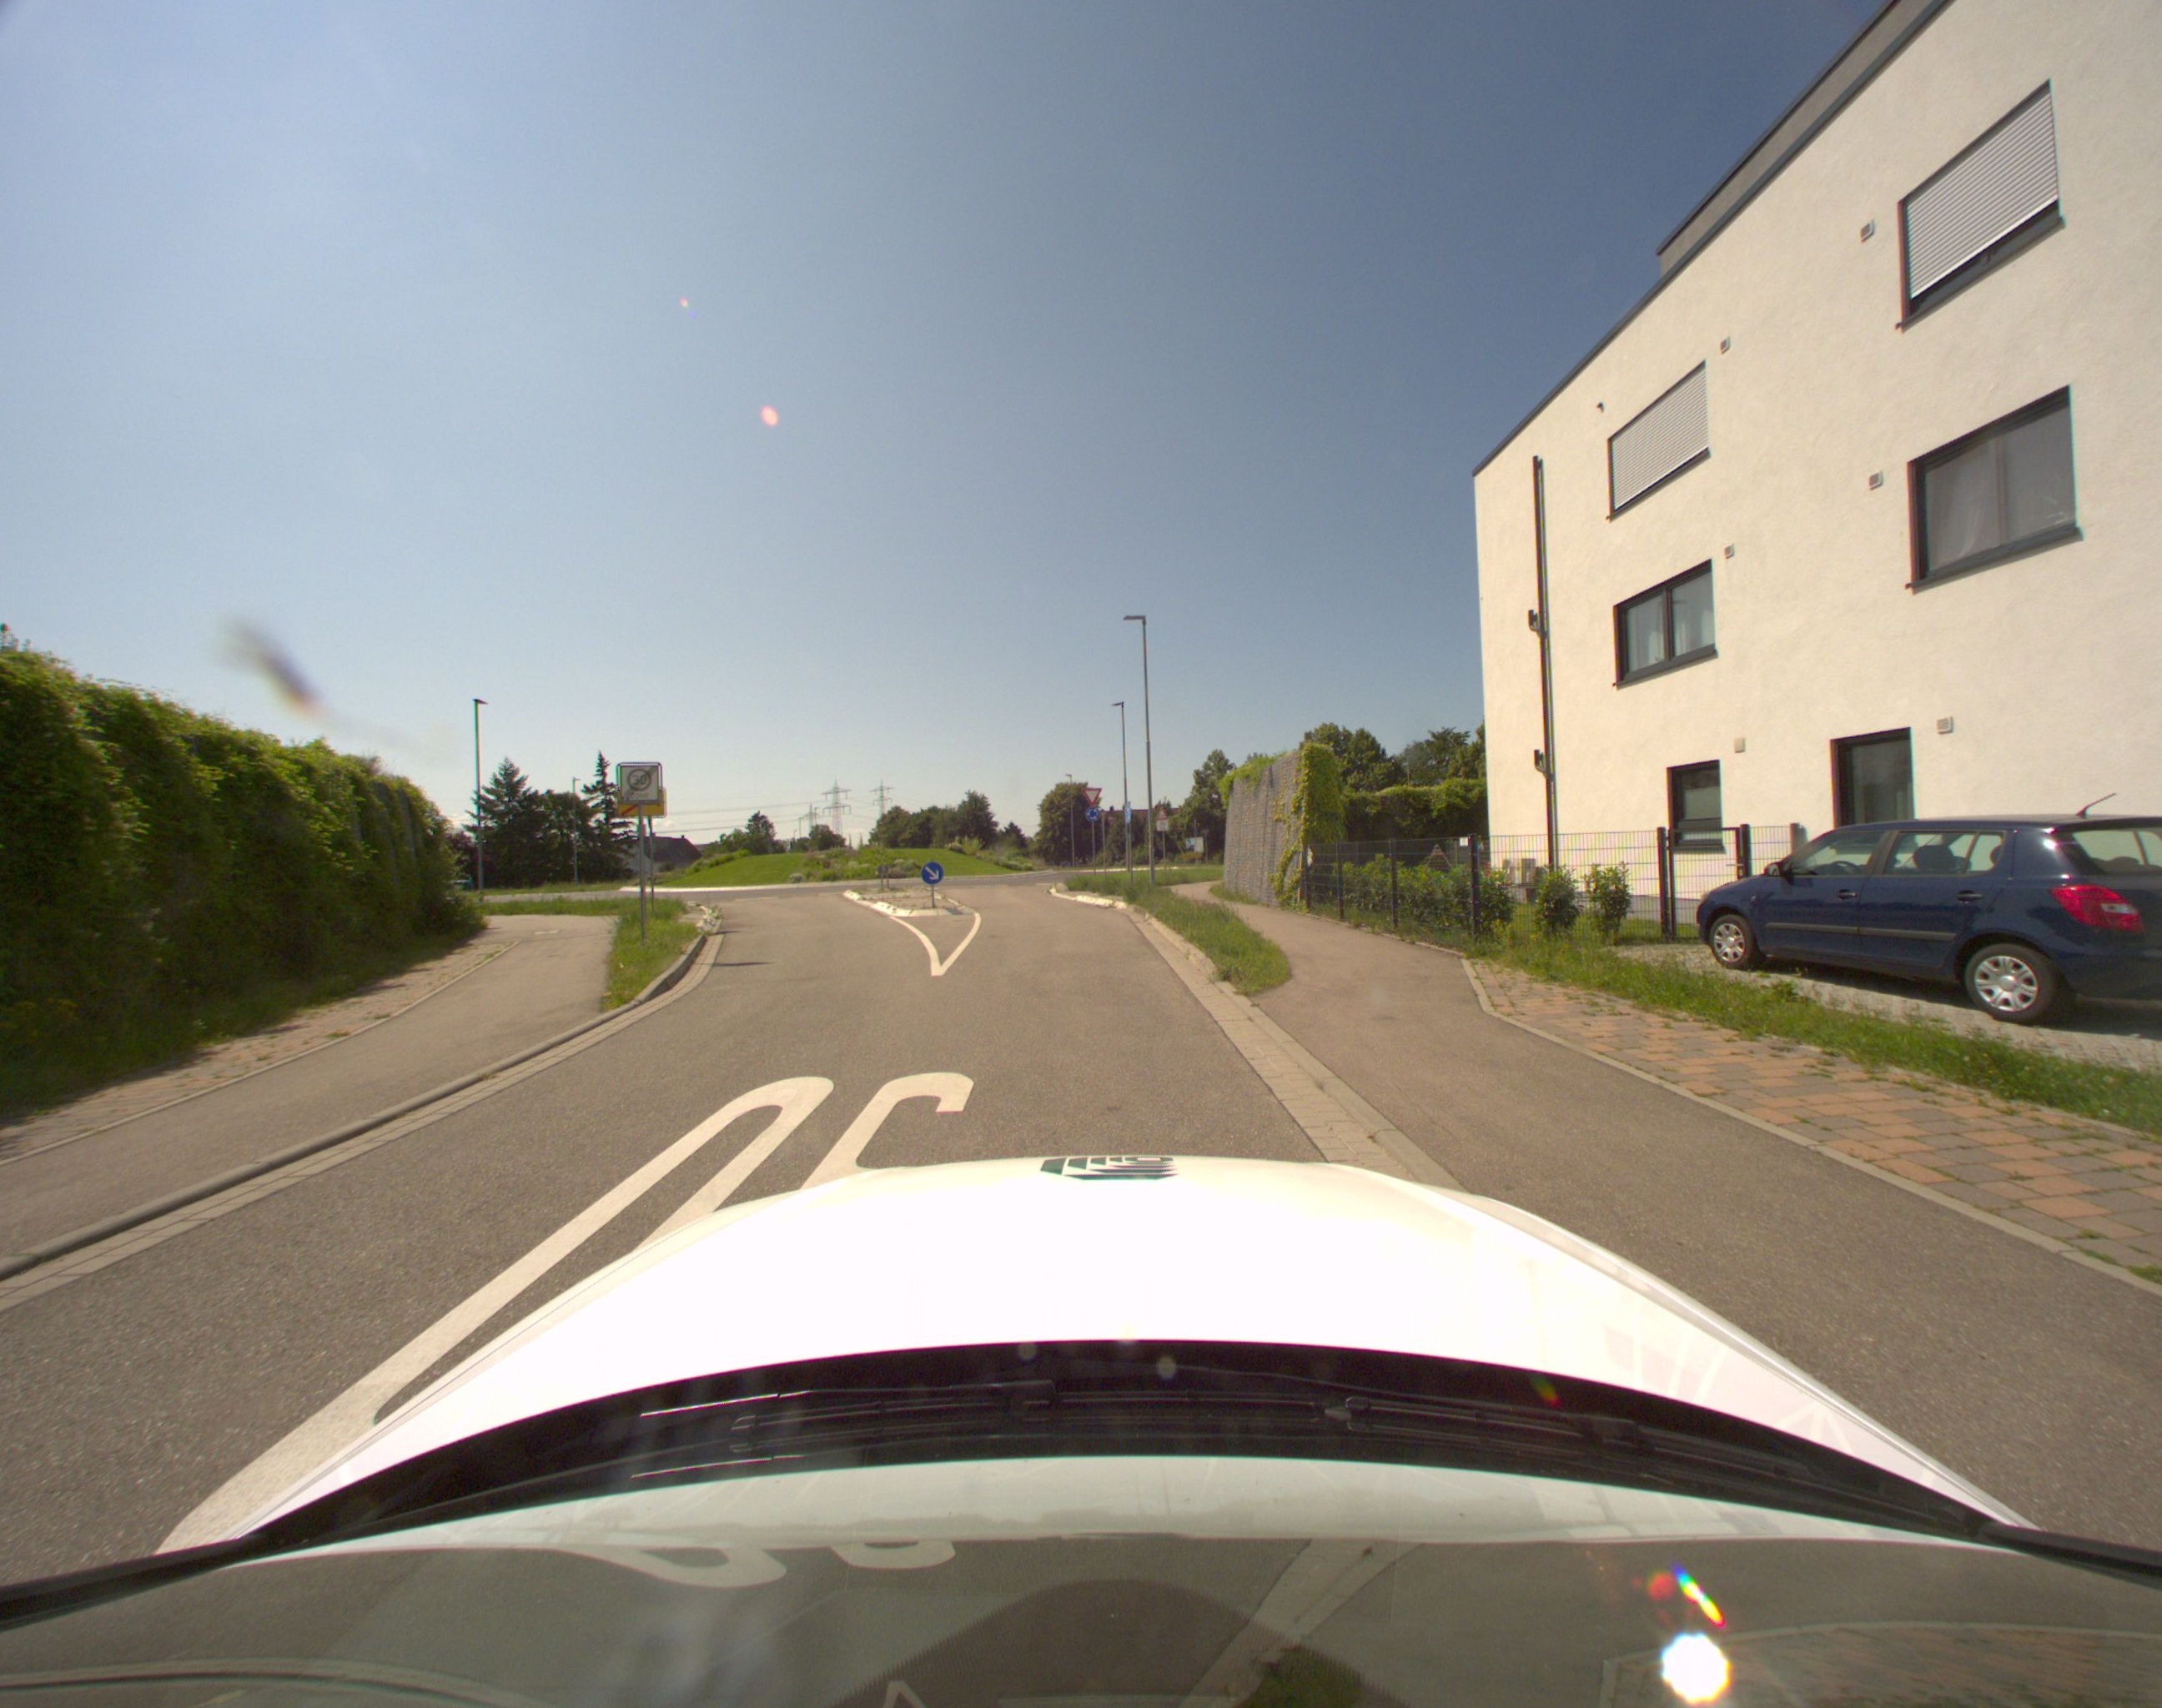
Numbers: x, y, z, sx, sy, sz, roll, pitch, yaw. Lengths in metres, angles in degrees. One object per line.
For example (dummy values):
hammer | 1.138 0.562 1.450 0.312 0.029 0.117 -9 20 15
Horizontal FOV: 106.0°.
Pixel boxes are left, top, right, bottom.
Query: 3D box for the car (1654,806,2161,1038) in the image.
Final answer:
car | 7.382 0.388 7.255 1.672 1.469 4.116 -1 1 0
